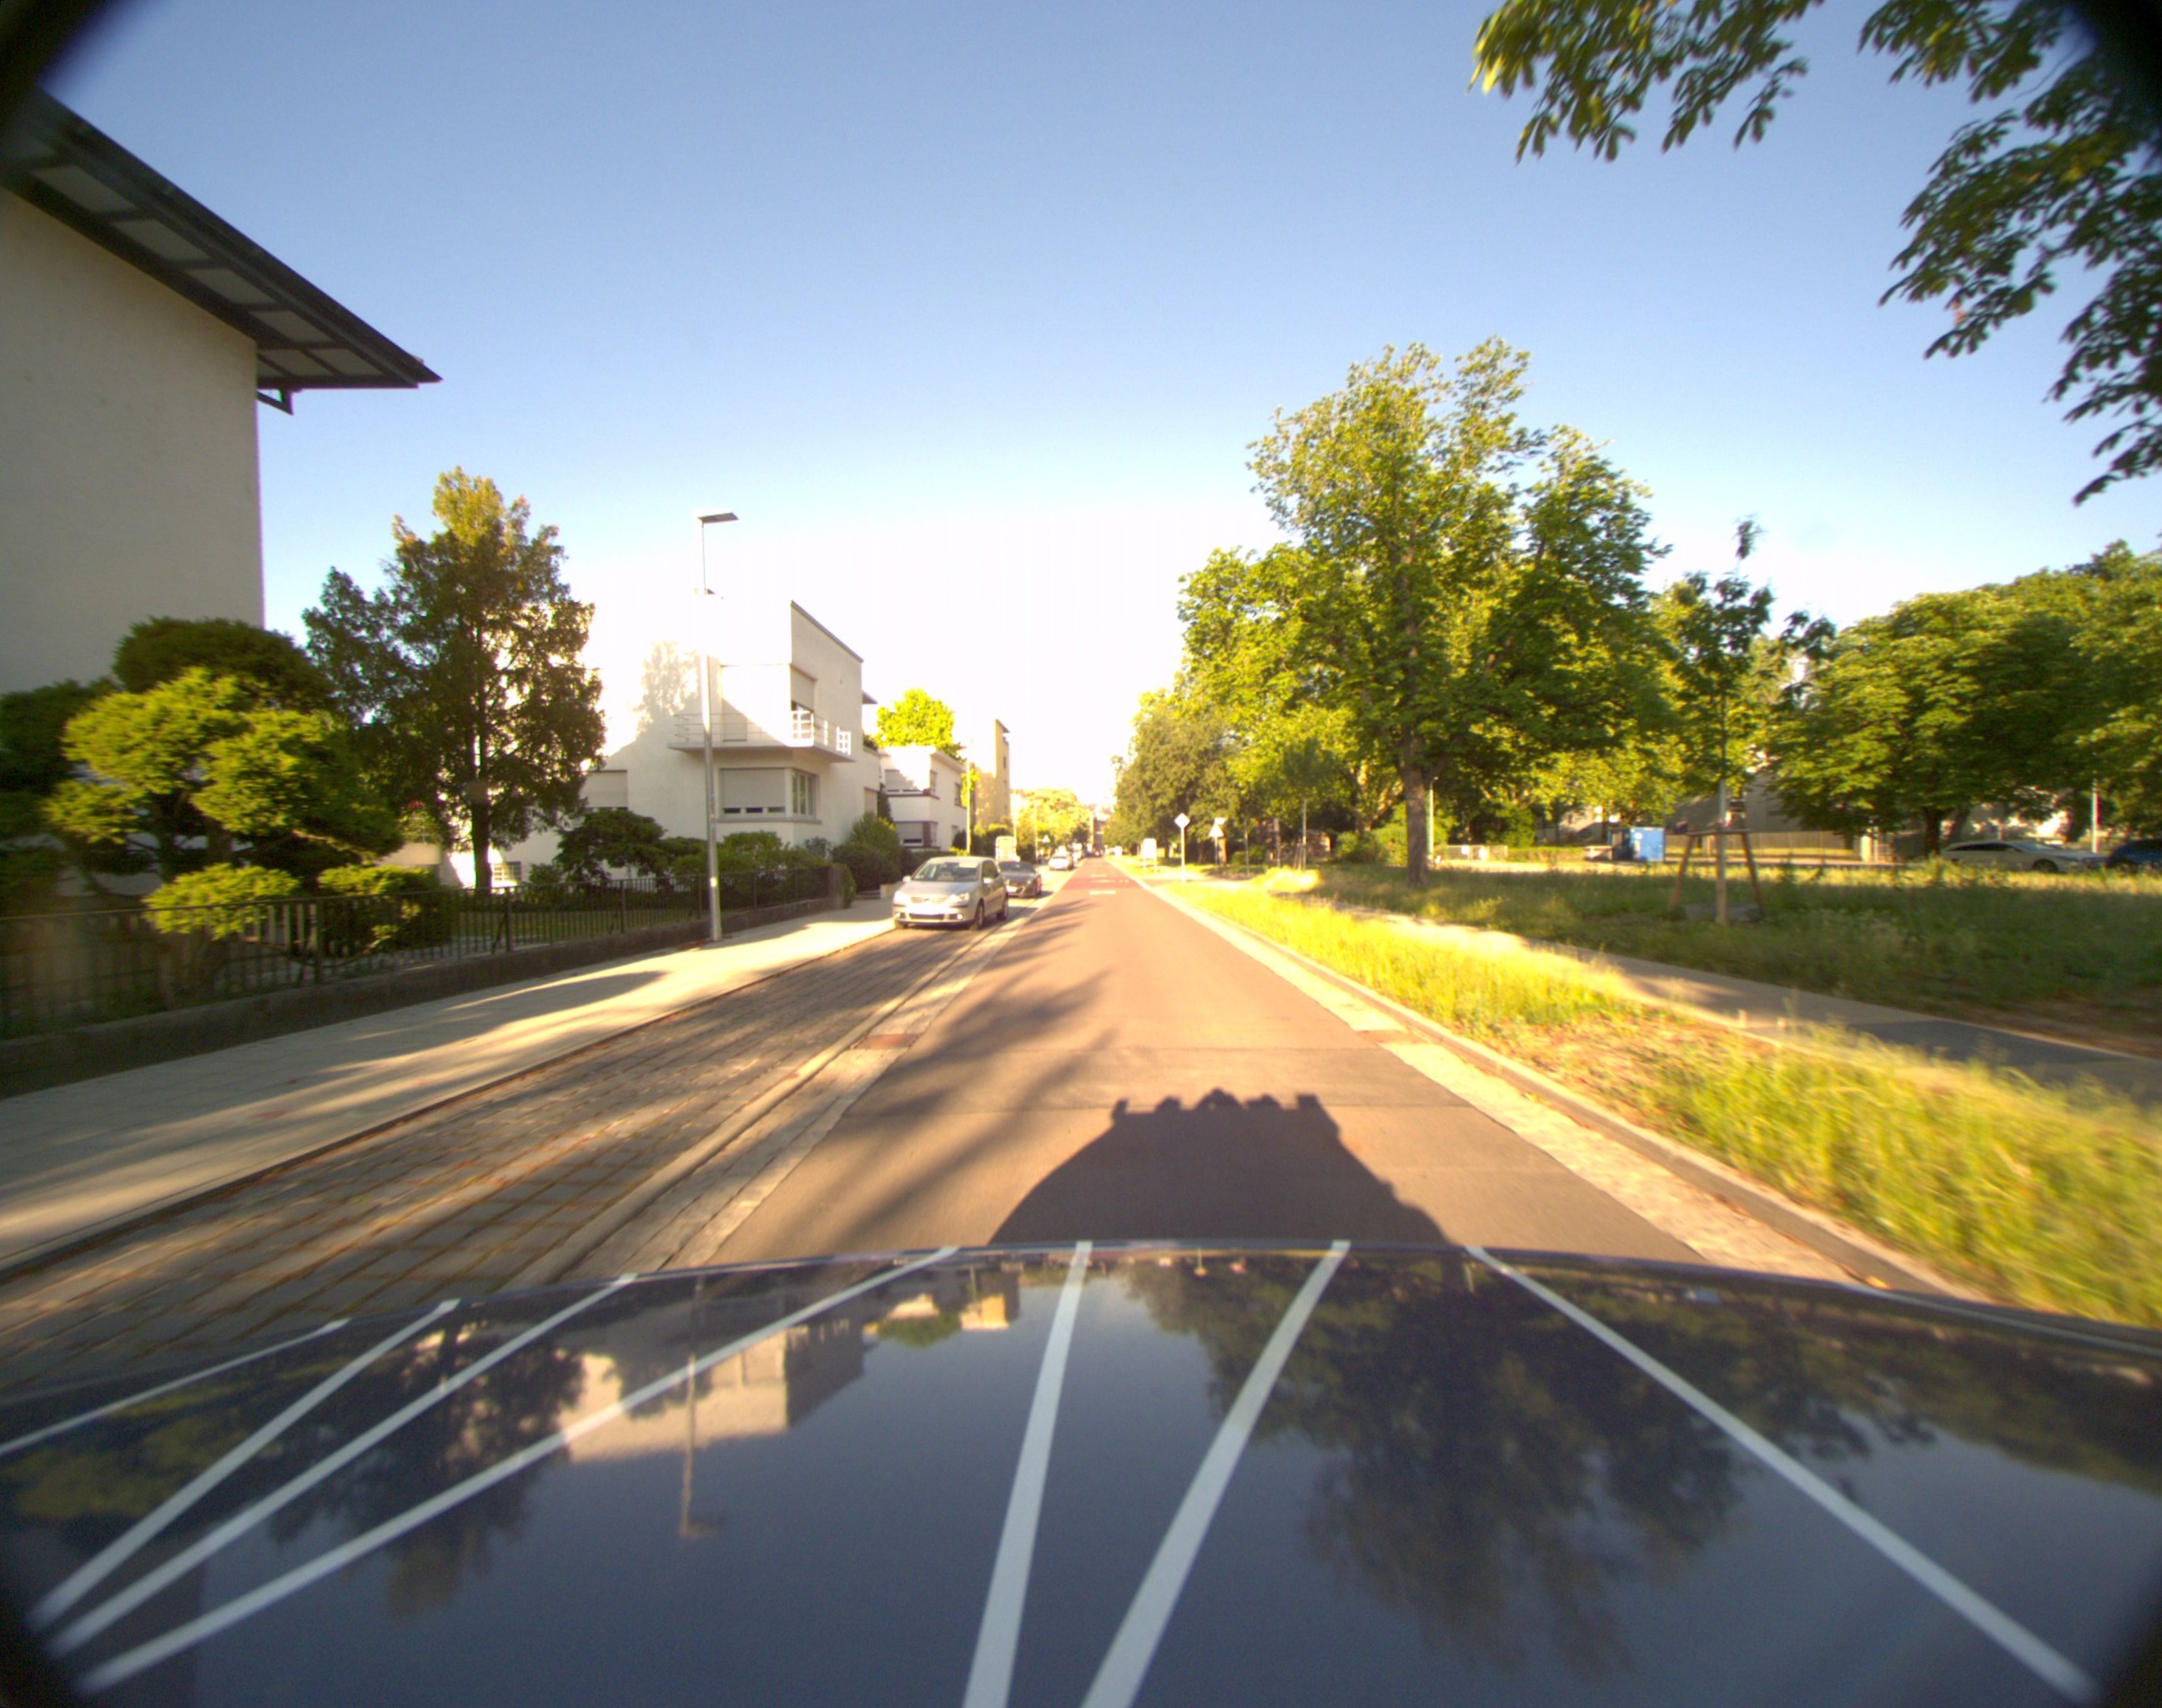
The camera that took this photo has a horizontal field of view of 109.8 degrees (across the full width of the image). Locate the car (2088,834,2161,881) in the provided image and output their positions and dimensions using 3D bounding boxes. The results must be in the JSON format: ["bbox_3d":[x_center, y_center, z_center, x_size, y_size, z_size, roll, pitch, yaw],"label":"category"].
[{"bbox_3d":[37.921,0.112,25.849,1.697,1.588,4.220,-2,1,-2],"label":"car"}]

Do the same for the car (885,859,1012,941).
[{"bbox_3d":[-2.709,0.878,16.403,1.748,1.465,3.923,1,1,4],"label":"car"}]

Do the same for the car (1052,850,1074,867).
[{"bbox_3d":[-1.621,0.379,69.764,1.682,1.547,4.130,0,1,2],"label":"car"}]

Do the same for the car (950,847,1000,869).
[{"bbox_3d":[-8.417,0.300,60.488,3.499,1.632,1.644,-2,1,9],"label":"car"}]

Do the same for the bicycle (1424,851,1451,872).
[{"bbox_3d":[21.123,0.437,45.031,1.590,1.180,0.419,-2,2,-21],"label":"bicycle"}]

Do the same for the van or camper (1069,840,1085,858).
[{"bbox_3d":[-0.600,-0.818,122.185,2.427,2.767,5.951,0,1,0],"label":"van or camper"}]

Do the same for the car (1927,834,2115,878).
[{"bbox_3d":[38.061,0.043,30.995,1.697,1.588,4.755,-2,1,-2],"label":"car"}]

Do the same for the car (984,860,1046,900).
[{"bbox_3d":[-2.334,0.901,27.912,1.779,1.281,4.273,1,0,2],"label":"car"}]

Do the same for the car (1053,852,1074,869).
[{"bbox_3d":[-1.496,0.519,64.535,1.567,1.382,4.374,0,1,1],"label":"car"}]
